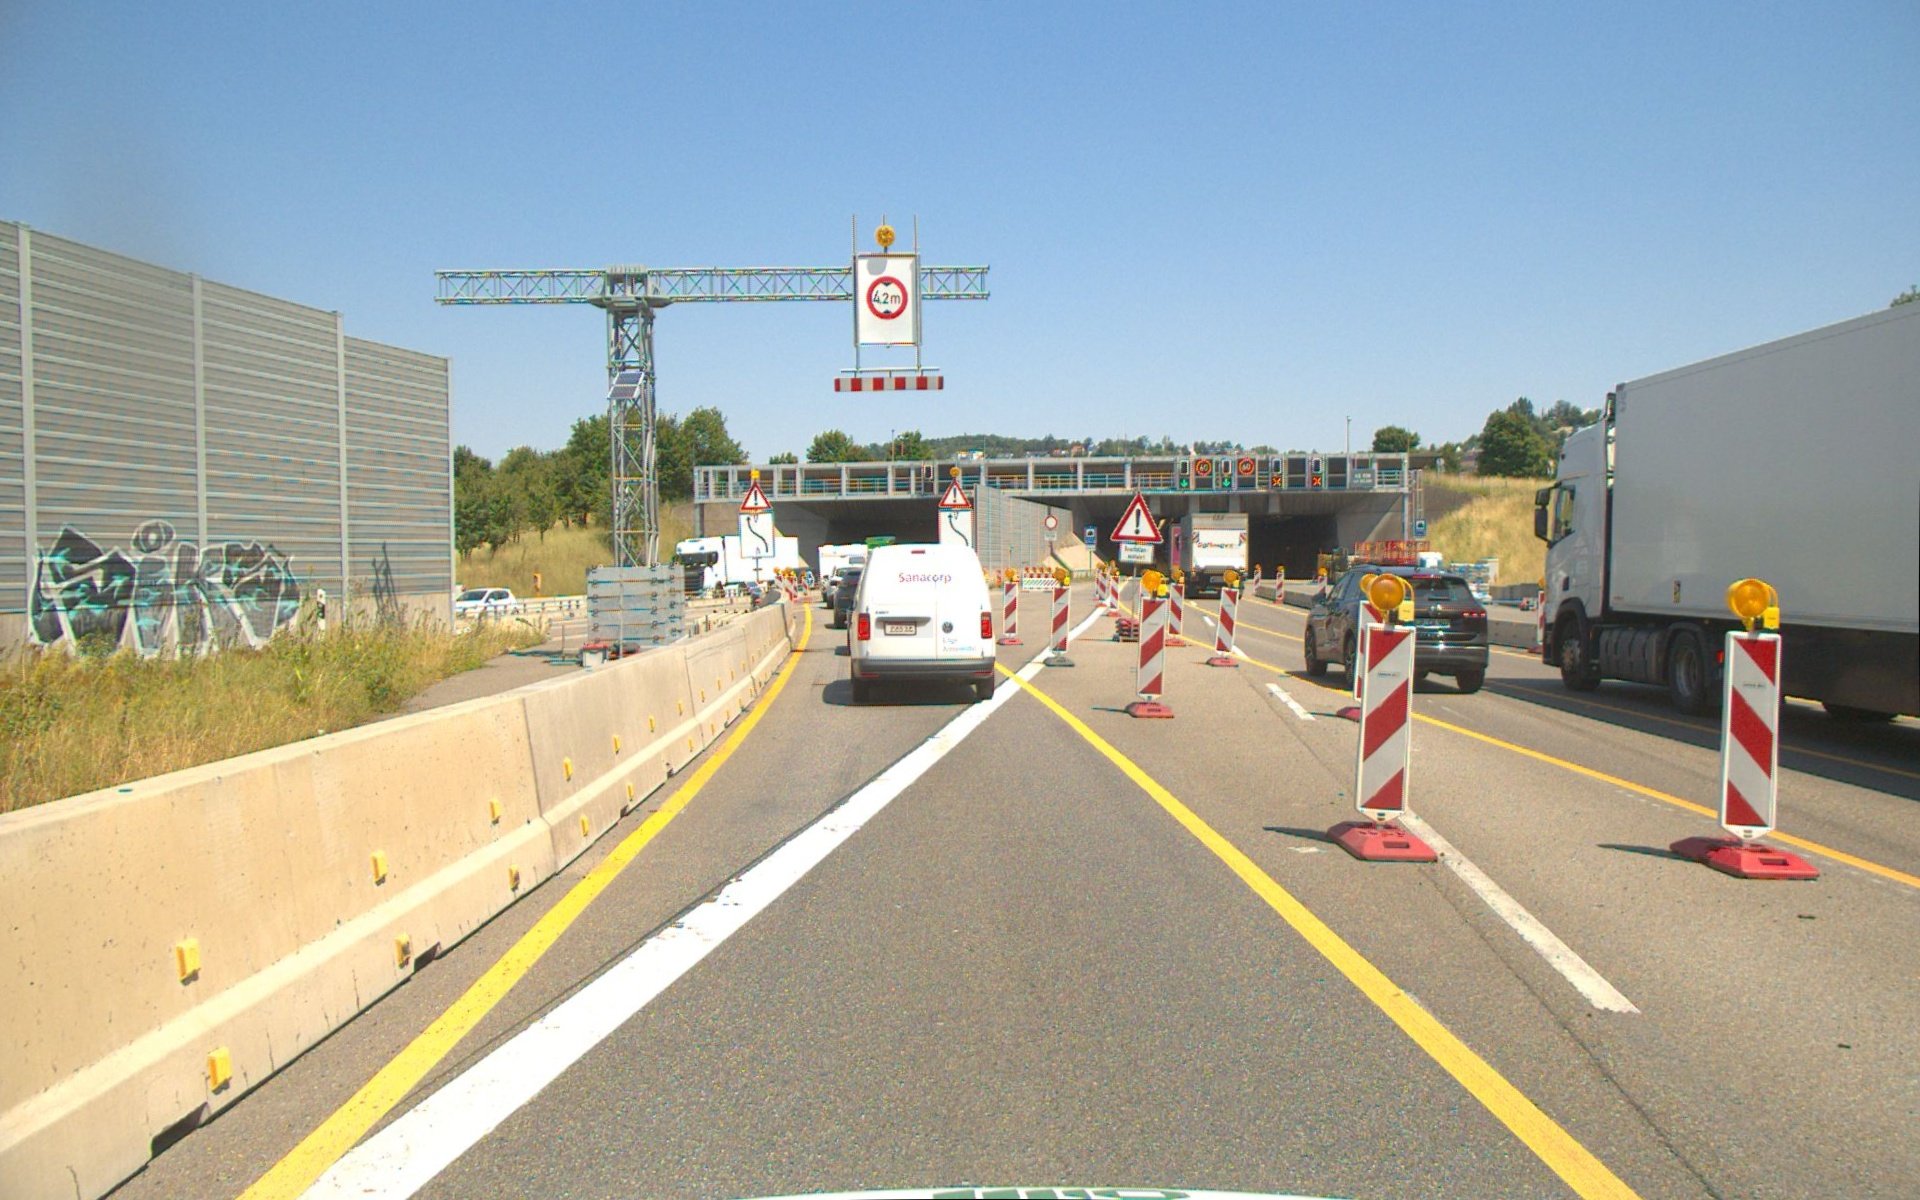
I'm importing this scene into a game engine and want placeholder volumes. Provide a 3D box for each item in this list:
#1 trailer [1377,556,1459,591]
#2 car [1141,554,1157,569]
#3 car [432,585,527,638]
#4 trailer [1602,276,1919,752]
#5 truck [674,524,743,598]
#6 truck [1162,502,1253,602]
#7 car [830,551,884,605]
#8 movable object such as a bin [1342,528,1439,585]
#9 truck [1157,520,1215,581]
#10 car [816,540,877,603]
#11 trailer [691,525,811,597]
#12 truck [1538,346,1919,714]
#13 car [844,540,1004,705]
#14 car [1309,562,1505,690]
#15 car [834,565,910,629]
[{"bbox_3d":[23.508,-1.390,85.146,2.541,1.596,6.237,-2,1,1],"label":"trailer"},{"bbox_3d":[22.329,-4.525,195.263,1.776,1.658,4.193,0,1,5],"label":"car"},{"bbox_3d":[-19.500,0.450,67.274,1.951,2.049,4.003,1,0,14],"label":"car"},{"bbox_3d":[9.674,-0.744,14.772,2.676,4.133,14.099,0,1,1],"label":"trailer"},{"bbox_3d":[-15.939,-2.465,105.117,2.607,4.578,4.847,0,1,15],"label":"truck"},{"bbox_3d":[12.040,-2.188,81.906,3.330,4.411,16.546,1,0,5],"label":"truck"},{"bbox_3d":[-3.807,-0.806,60.586,1.773,1.846,4.405,-2,1,-5],"label":"car"},{"bbox_3d":[25.728,-2.591,99.626,3.046,3.063,14.711,-2,1,5],"label":"movable object such as a bin"},{"bbox_3d":[16.333,-3.474,120.613,3.330,4.142,16.547,0,1,5],"label":"truck"},{"bbox_3d":[-5.393,-1.321,78.190,2.758,2.822,7.094,0,0,-5],"label":"car"},{"bbox_3d":[-13.974,-2.624,112.458,2.607,4.578,14.942,0,1,15],"label":"trailer"},{"bbox_3d":[9.830,-0.835,21.495,2.688,4.103,5.928,0,1,2],"label":"truck"},{"bbox_3d":[-0.533,0.226,20.725,1.773,1.825,3.728,-2,1,-4],"label":"car"},{"bbox_3d":[6.253,0.304,23.595,1.777,1.658,4.191,0,1,2],"label":"car"},{"bbox_3d":[-2.406,-0.112,44.522,1.774,1.564,4.404,-2,1,-6],"label":"car"}]
